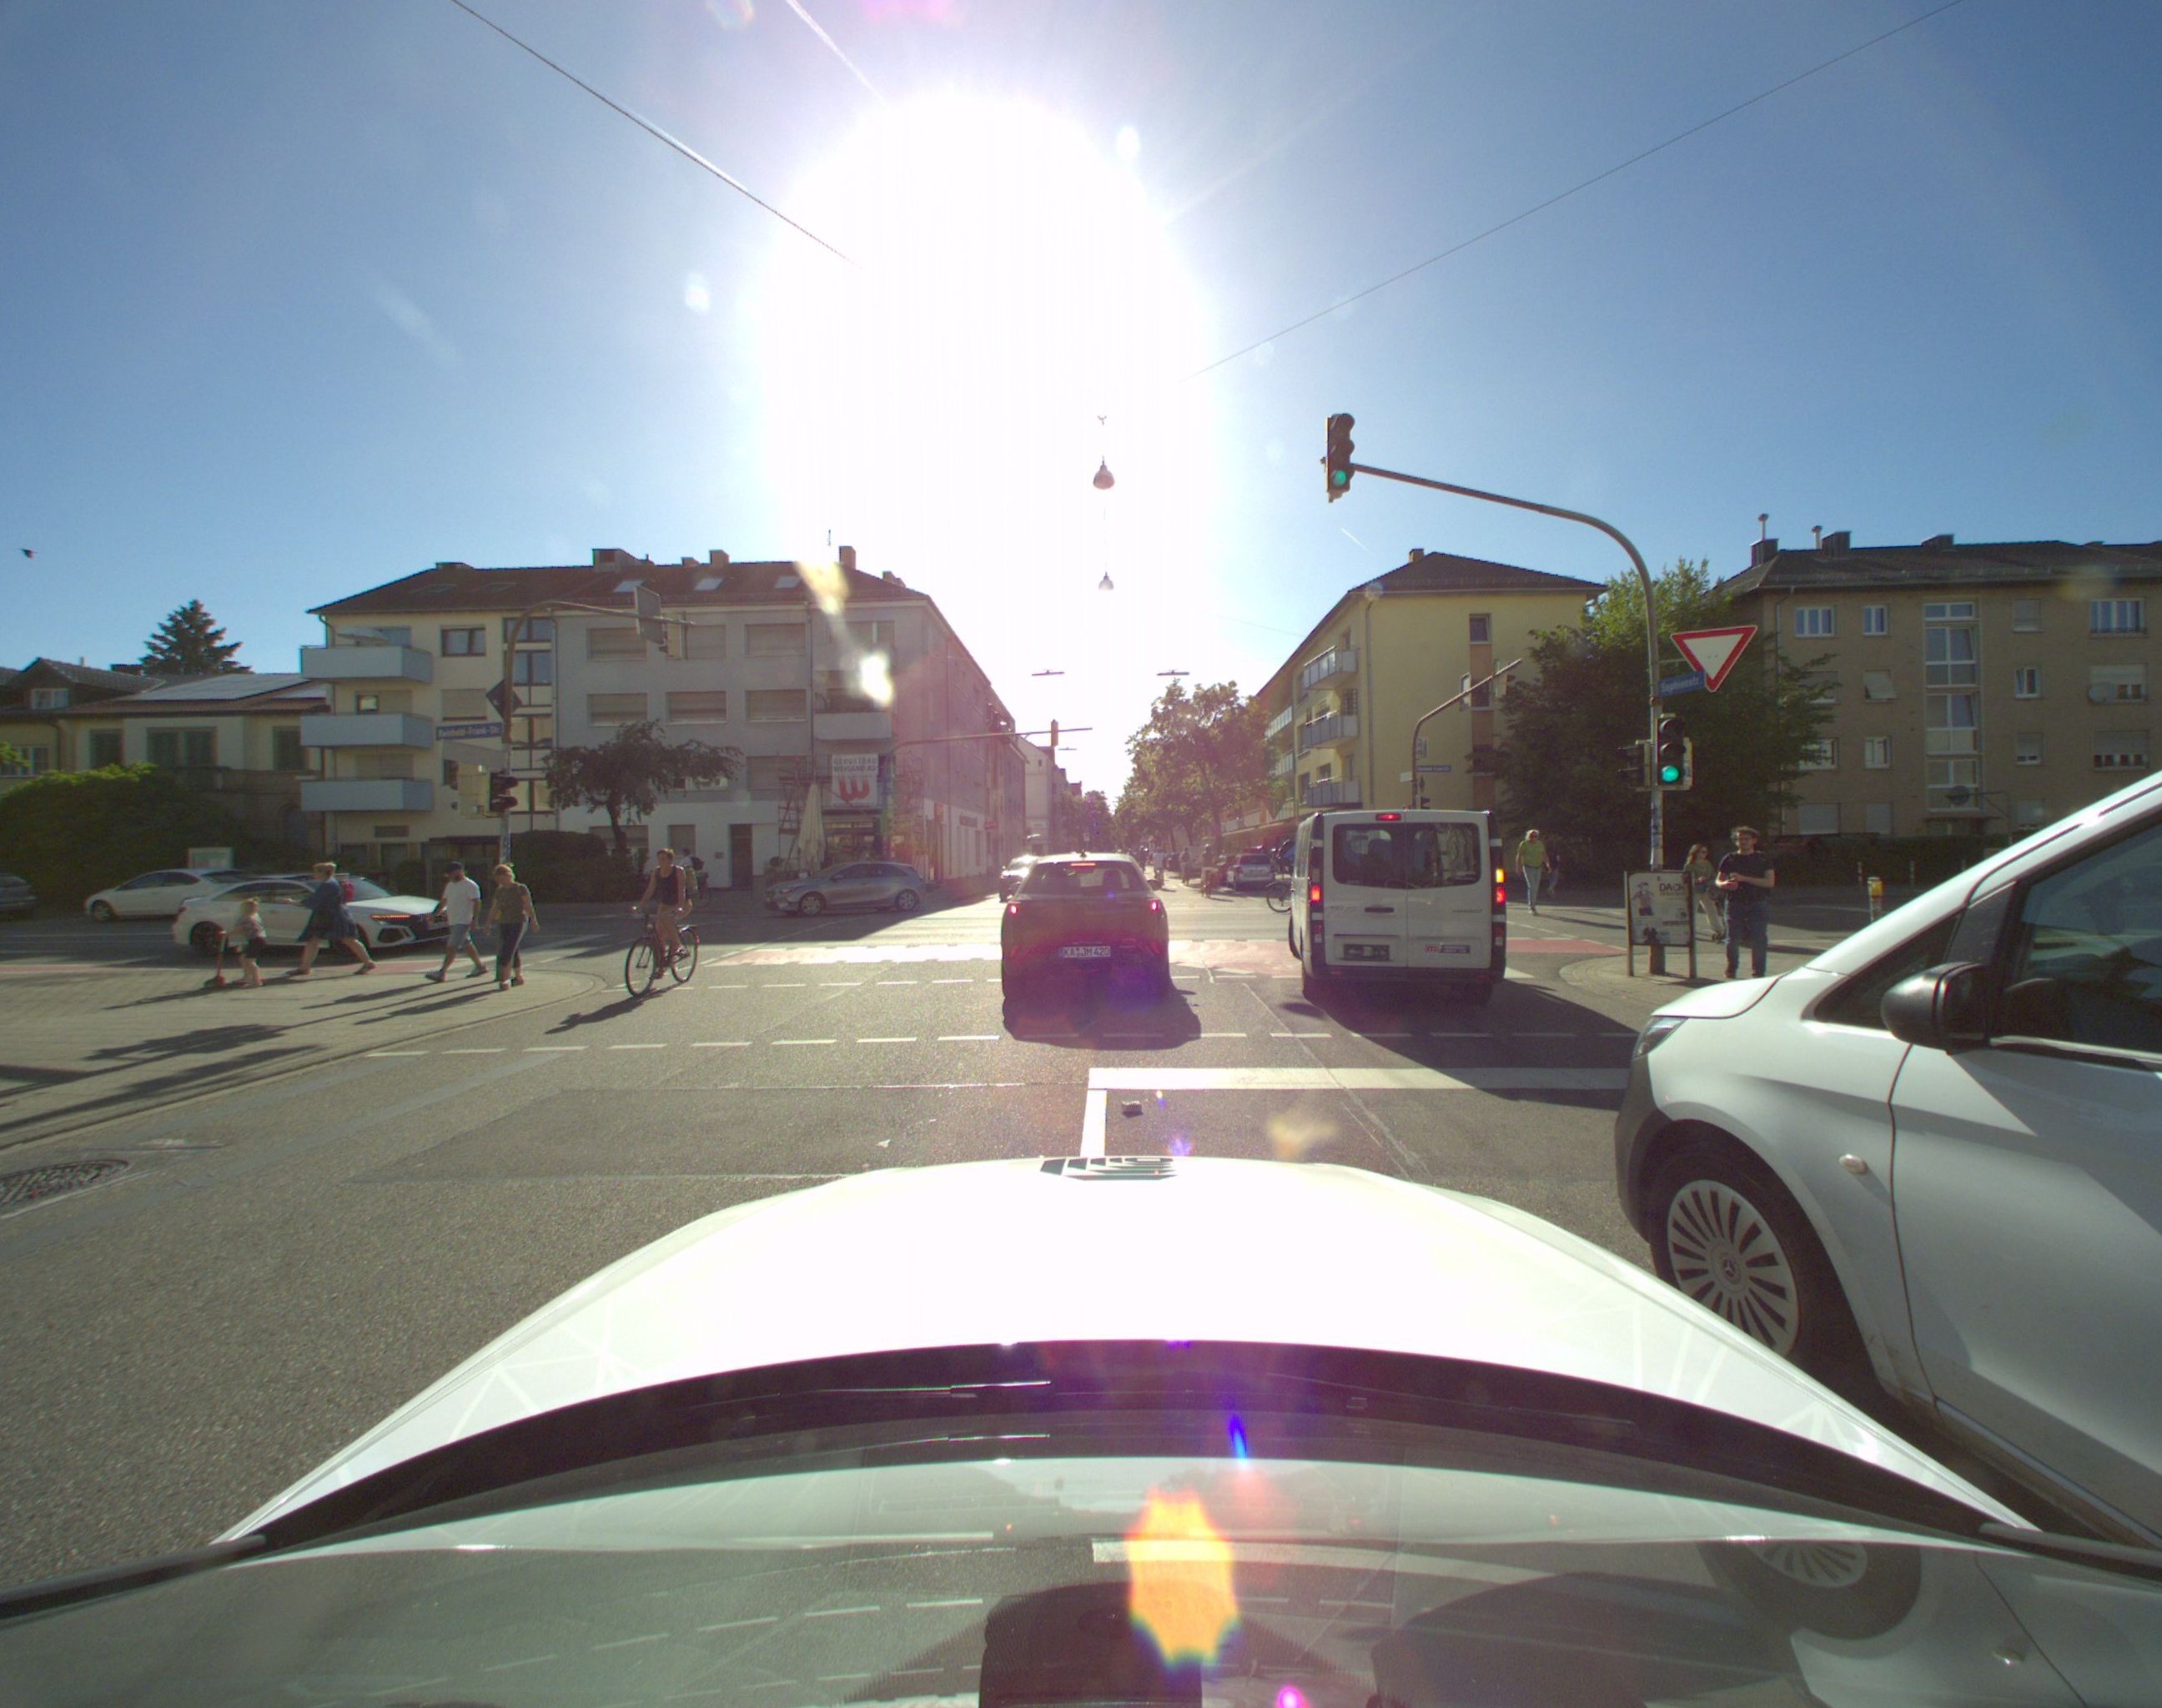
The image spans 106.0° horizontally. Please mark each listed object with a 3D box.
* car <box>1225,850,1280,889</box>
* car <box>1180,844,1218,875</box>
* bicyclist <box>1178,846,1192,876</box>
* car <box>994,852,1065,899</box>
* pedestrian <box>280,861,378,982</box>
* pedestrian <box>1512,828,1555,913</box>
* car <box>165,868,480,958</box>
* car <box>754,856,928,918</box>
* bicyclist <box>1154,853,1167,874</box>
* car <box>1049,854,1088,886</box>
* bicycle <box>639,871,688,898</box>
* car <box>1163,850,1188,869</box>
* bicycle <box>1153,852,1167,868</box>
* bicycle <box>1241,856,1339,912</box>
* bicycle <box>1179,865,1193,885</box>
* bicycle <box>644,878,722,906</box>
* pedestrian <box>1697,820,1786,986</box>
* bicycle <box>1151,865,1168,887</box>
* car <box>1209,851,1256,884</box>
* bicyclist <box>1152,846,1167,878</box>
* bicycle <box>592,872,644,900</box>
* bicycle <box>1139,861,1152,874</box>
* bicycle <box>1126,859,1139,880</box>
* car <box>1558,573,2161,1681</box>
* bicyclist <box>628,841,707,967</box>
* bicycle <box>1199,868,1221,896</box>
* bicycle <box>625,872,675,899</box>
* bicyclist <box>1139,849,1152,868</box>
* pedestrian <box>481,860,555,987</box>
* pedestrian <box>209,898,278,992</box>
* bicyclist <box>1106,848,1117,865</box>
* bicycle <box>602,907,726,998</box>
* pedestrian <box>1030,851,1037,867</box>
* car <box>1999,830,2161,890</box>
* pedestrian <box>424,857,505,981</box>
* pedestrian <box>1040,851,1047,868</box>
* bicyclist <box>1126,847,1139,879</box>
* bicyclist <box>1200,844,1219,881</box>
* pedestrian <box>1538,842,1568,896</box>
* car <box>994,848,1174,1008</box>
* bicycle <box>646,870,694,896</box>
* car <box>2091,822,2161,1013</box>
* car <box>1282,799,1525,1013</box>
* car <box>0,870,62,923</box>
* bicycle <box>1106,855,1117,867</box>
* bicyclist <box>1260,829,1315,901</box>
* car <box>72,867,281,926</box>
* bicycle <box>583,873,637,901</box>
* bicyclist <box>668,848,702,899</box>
[{"bbox_3d":[7.136,0.613,34.142,1.706,1.483,3.482,-1,0,2],"label":"car"},{"bbox_3d":[7.547,0.315,52.566,2.037,1.846,4.588,-1,0,3],"label":"car"},{"bbox_3d":[4.847,0.315,37.907,0.544,1.382,0.823,-1,0,3],"label":"bicyclist"},{"bbox_3d":[-1.843,0.756,30.335,1.582,1.566,4.101,-2,0,11],"label":"car"},{"bbox_3d":[-11.083,0.954,12.019,0.567,1.683,0.974,-1,0,39],"label":"pedestrian"},{"bbox_3d":[9.625,0.336,17.337,0.524,1.762,0.623,-1,0,0],"label":"pedestrian"},{"bbox_3d":[-14.378,1.085,15.619,4.235,1.435,1.937,-1,4,3],"label":"car"},{"bbox_3d":[-6.519,0.834,22.325,4.197,1.433,1.822,-1,0,-39],"label":"car"},{"bbox_3d":[4.500,0.520,46.380,0.689,1.193,0.595,-1,0,3],"label":"bicyclist"},{"bbox_3d":[-0.606,0.753,40.610,1.799,1.413,4.424,-3,0,-1],"label":"car"},{"bbox_3d":[-15.797,1.146,30.824,1.582,0.940,0.513,-1,0,4],"label":"bicycle"},{"bbox_3d":[7.501,0.425,64.980,1.706,1.483,3.383,-1,0,2],"label":"car"},{"bbox_3d":[4.495,0.345,46.403,0.688,0.866,1.878,-1,0,3],"label":"bicycle"},{"bbox_3d":[4.915,0.690,19.153,2.113,1.255,0.808,-1,0,23],"label":"bicycle"},{"bbox_3d":[4.884,0.982,37.947,0.544,0.866,1.878,-1,0,3],"label":"bicycle"},{"bbox_3d":[-12.460,1.186,25.521,2.124,0.833,0.553,0,0,-9],"label":"bicycle"},{"bbox_3d":[7.551,0.536,9.336,0.598,1.822,0.632,-1,0,22],"label":"pedestrian"},{"bbox_3d":[3.379,0.932,35.055,0.617,0.866,1.878,-1,0,3],"label":"bicycle"},{"bbox_3d":[7.162,0.603,38.671,1.706,1.483,3.383,-1,0,2],"label":"car"},{"bbox_3d":[3.369,0.336,35.096,0.586,1.382,0.823,-1,0,3],"label":"bicyclist"},{"bbox_3d":[-16.629,1.149,29.241,1.582,0.940,0.513,-1,0,4],"label":"bicycle"},{"bbox_3d":[4.730,0.976,59.753,0.853,0.945,2.308,1,0,2],"label":"bicycle"},{"bbox_3d":[2.787,0.819,43.910,0.630,1.041,1.796,-2,0,2],"label":"bicycle"},{"bbox_3d":[2.728,0.434,0.593,1.961,1.810,4.833,-1,0,1],"label":"car"},{"bbox_3d":[-5.169,0.600,10.214,0.540,1.520,0.774,-1,0,2],"label":"bicyclist"},{"bbox_3d":[4.449,0.955,28.158,0.544,0.866,1.878,-1,0,3],"label":"bicycle"},{"bbox_3d":[-15.899,1.145,30.049,1.582,0.940,0.513,-1,0,4],"label":"bicycle"},{"bbox_3d":[4.738,0.328,59.662,0.853,1.314,1.211,1,0,2],"label":"bicyclist"},{"bbox_3d":[-7.282,0.876,10.553,0.529,1.581,0.563,-1,0,2],"label":"pedestrian"},{"bbox_3d":[-10.916,1.170,10.624,0.534,1.146,0.383,-1,0,-33],"label":"pedestrian"},{"bbox_3d":[2.525,0.204,67.631,0.853,1.314,1.211,1,0,2],"label":"bicyclist"},{"bbox_3d":[-5.159,1.181,10.202,0.540,0.902,1.827,-1,0,2],"label":"bicycle"},{"bbox_3d":[-4.442,0.441,76.171,0.575,1.467,0.702,-1,0,-3],"label":"pedestrian"},{"bbox_3d":[28.844,0.145,22.791,3.971,1.574,2.001,-1,0,2],"label":"car"},{"bbox_3d":[-8.695,0.895,11.507,0.569,1.689,0.671,-1,0,11],"label":"pedestrian"},{"bbox_3d":[-3.490,0.532,75.960,0.575,1.583,0.707,-1,0,-3],"label":"pedestrian"},{"bbox_3d":[2.767,0.478,43.764,0.630,1.669,1.051,-2,0,2],"label":"bicyclist"},{"bbox_3d":[4.437,0.288,28.131,0.544,1.262,0.803,-1,0,3],"label":"bicyclist"},{"bbox_3d":[13.966,0.434,24.106,0.537,1.571,0.539,-1,0,2],"label":"pedestrian"},{"bbox_3d":[0.096,0.738,10.079,1.756,1.558,4.002,-1,0,2],"label":"car"},{"bbox_3d":[-15.906,1.132,31.512,1.582,0.940,0.513,-1,0,4],"label":"bicycle"},{"bbox_3d":[11.403,0.519,6.647,3.971,1.662,1.826,-1,0,2],"label":"car"},{"bbox_3d":[3.579,0.469,10.035,1.955,1.940,5.072,0,0,12],"label":"car"},{"bbox_3d":[-33.340,1.306,24.056,3.972,1.429,1.917,-1,2,1],"label":"car"},{"bbox_3d":[2.512,0.565,67.560,0.853,0.945,2.308,1,0,2],"label":"bicycle"},{"bbox_3d":[4.863,0.262,19.165,1.111,1.649,0.808,-1,0,23],"label":"bicyclist"},{"bbox_3d":[-26.483,1.209,23.953,3.972,1.519,1.917,-1,1,1],"label":"car"},{"bbox_3d":[-16.545,1.147,28.616,1.582,0.940,0.513,-1,0,4],"label":"bicycle"},{"bbox_3d":[-12.406,0.603,25.529,0.811,1.549,0.553,0,0,-9],"label":"bicyclist"}]
